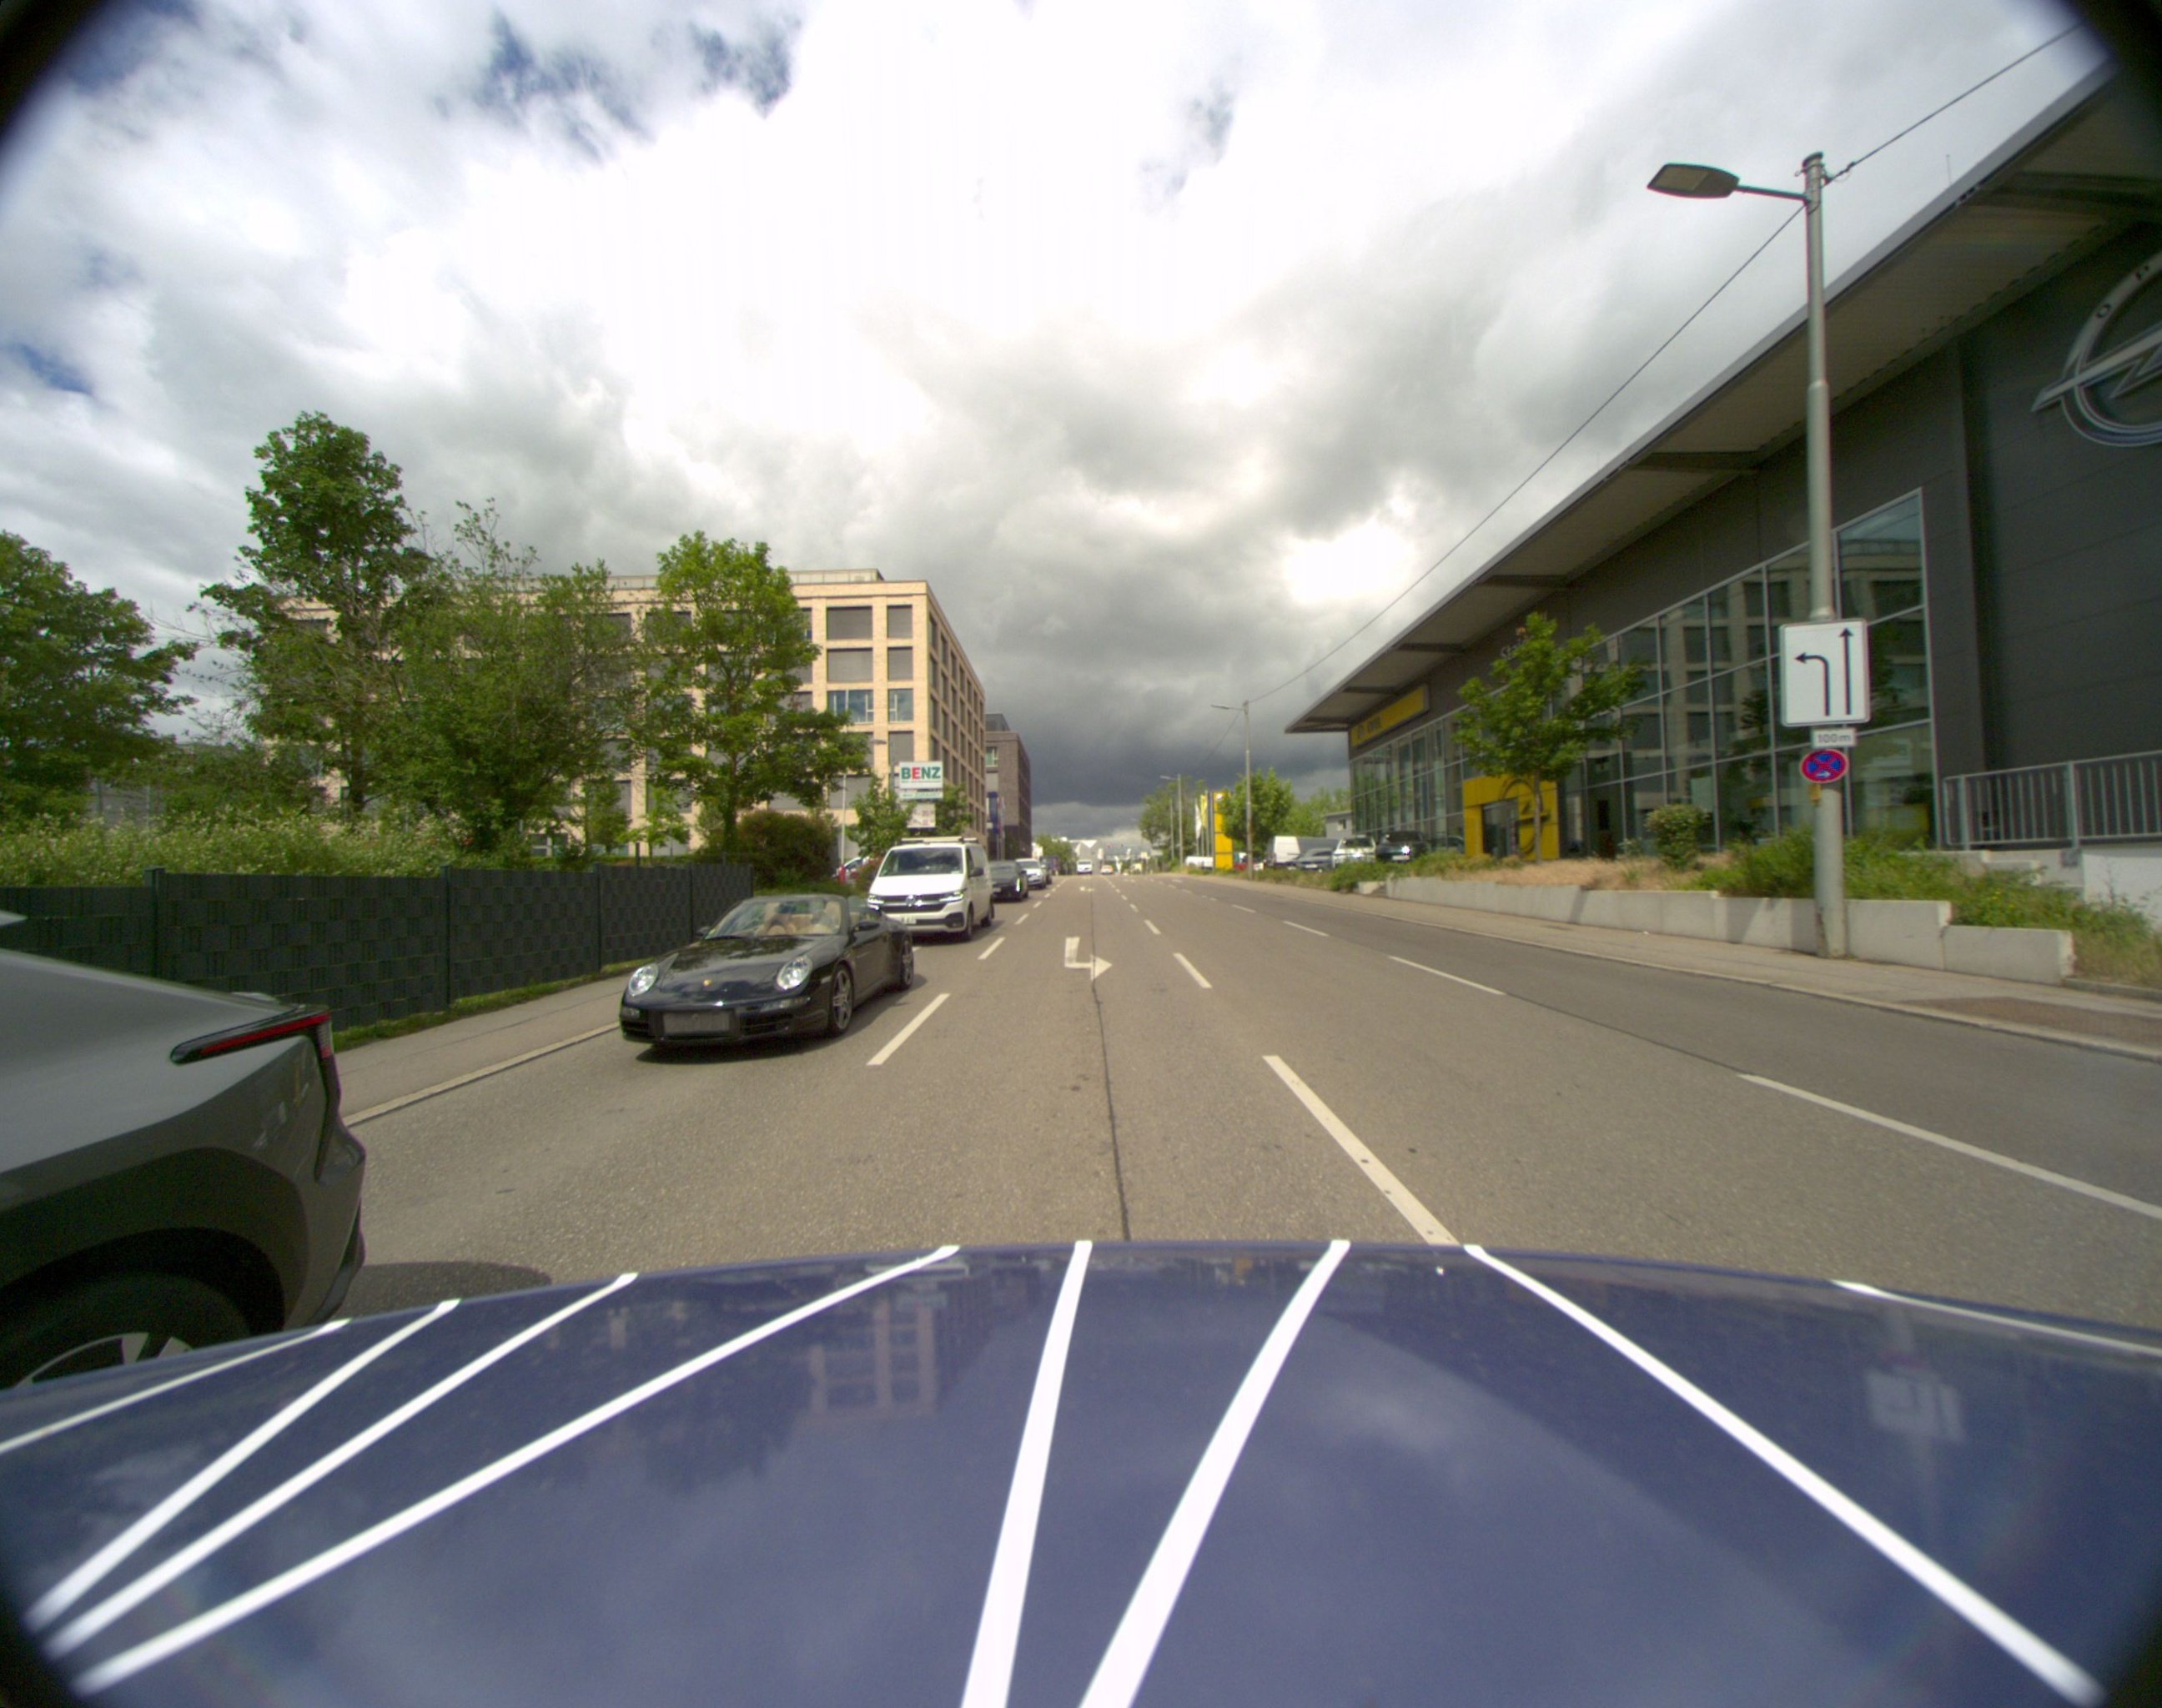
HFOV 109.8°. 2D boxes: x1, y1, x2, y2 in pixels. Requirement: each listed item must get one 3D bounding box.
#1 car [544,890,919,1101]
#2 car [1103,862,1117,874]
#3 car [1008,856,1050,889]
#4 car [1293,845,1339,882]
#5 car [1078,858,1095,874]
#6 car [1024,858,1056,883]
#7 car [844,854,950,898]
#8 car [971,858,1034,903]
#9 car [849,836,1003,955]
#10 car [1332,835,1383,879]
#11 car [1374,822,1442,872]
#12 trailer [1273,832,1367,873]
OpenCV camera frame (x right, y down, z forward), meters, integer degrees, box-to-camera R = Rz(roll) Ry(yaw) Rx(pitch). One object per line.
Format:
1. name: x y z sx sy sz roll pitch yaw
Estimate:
1. car: -3.028 1.152 7.674 1.824 1.286 4.038 -2 0 1
2. car: 4.462 2.150 116.605 1.998 1.731 4.547 -2 0 1
3. car: -2.574 0.891 38.430 1.818 1.577 4.000 -1 0 1
4. car: 12.126 0.462 39.012 1.995 1.783 4.006 -1 0 21
5. car: 0.773 1.518 98.173 1.998 1.819 4.547 -2 0 2
6. car: -2.432 0.973 46.090 1.662 1.351 4.000 -1 0 1
7. car: -7.610 0.886 31.691 3.998 1.723 1.822 -1 1 -3
8. car: -2.813 0.910 27.889 1.818 1.454 4.000 -1 0 1
9. car: -3.003 0.731 15.891 2.089 2.037 4.760 -2 0 1
10. car: 12.186 0.123 33.438 1.995 1.783 4.006 -1 0 21
11. car: 12.352 -0.258 28.927 1.996 1.718 4.005 -1 0 18
12. trailer: 14.472 -0.076 46.171 5.074 2.336 2.000 -1 1 -1
